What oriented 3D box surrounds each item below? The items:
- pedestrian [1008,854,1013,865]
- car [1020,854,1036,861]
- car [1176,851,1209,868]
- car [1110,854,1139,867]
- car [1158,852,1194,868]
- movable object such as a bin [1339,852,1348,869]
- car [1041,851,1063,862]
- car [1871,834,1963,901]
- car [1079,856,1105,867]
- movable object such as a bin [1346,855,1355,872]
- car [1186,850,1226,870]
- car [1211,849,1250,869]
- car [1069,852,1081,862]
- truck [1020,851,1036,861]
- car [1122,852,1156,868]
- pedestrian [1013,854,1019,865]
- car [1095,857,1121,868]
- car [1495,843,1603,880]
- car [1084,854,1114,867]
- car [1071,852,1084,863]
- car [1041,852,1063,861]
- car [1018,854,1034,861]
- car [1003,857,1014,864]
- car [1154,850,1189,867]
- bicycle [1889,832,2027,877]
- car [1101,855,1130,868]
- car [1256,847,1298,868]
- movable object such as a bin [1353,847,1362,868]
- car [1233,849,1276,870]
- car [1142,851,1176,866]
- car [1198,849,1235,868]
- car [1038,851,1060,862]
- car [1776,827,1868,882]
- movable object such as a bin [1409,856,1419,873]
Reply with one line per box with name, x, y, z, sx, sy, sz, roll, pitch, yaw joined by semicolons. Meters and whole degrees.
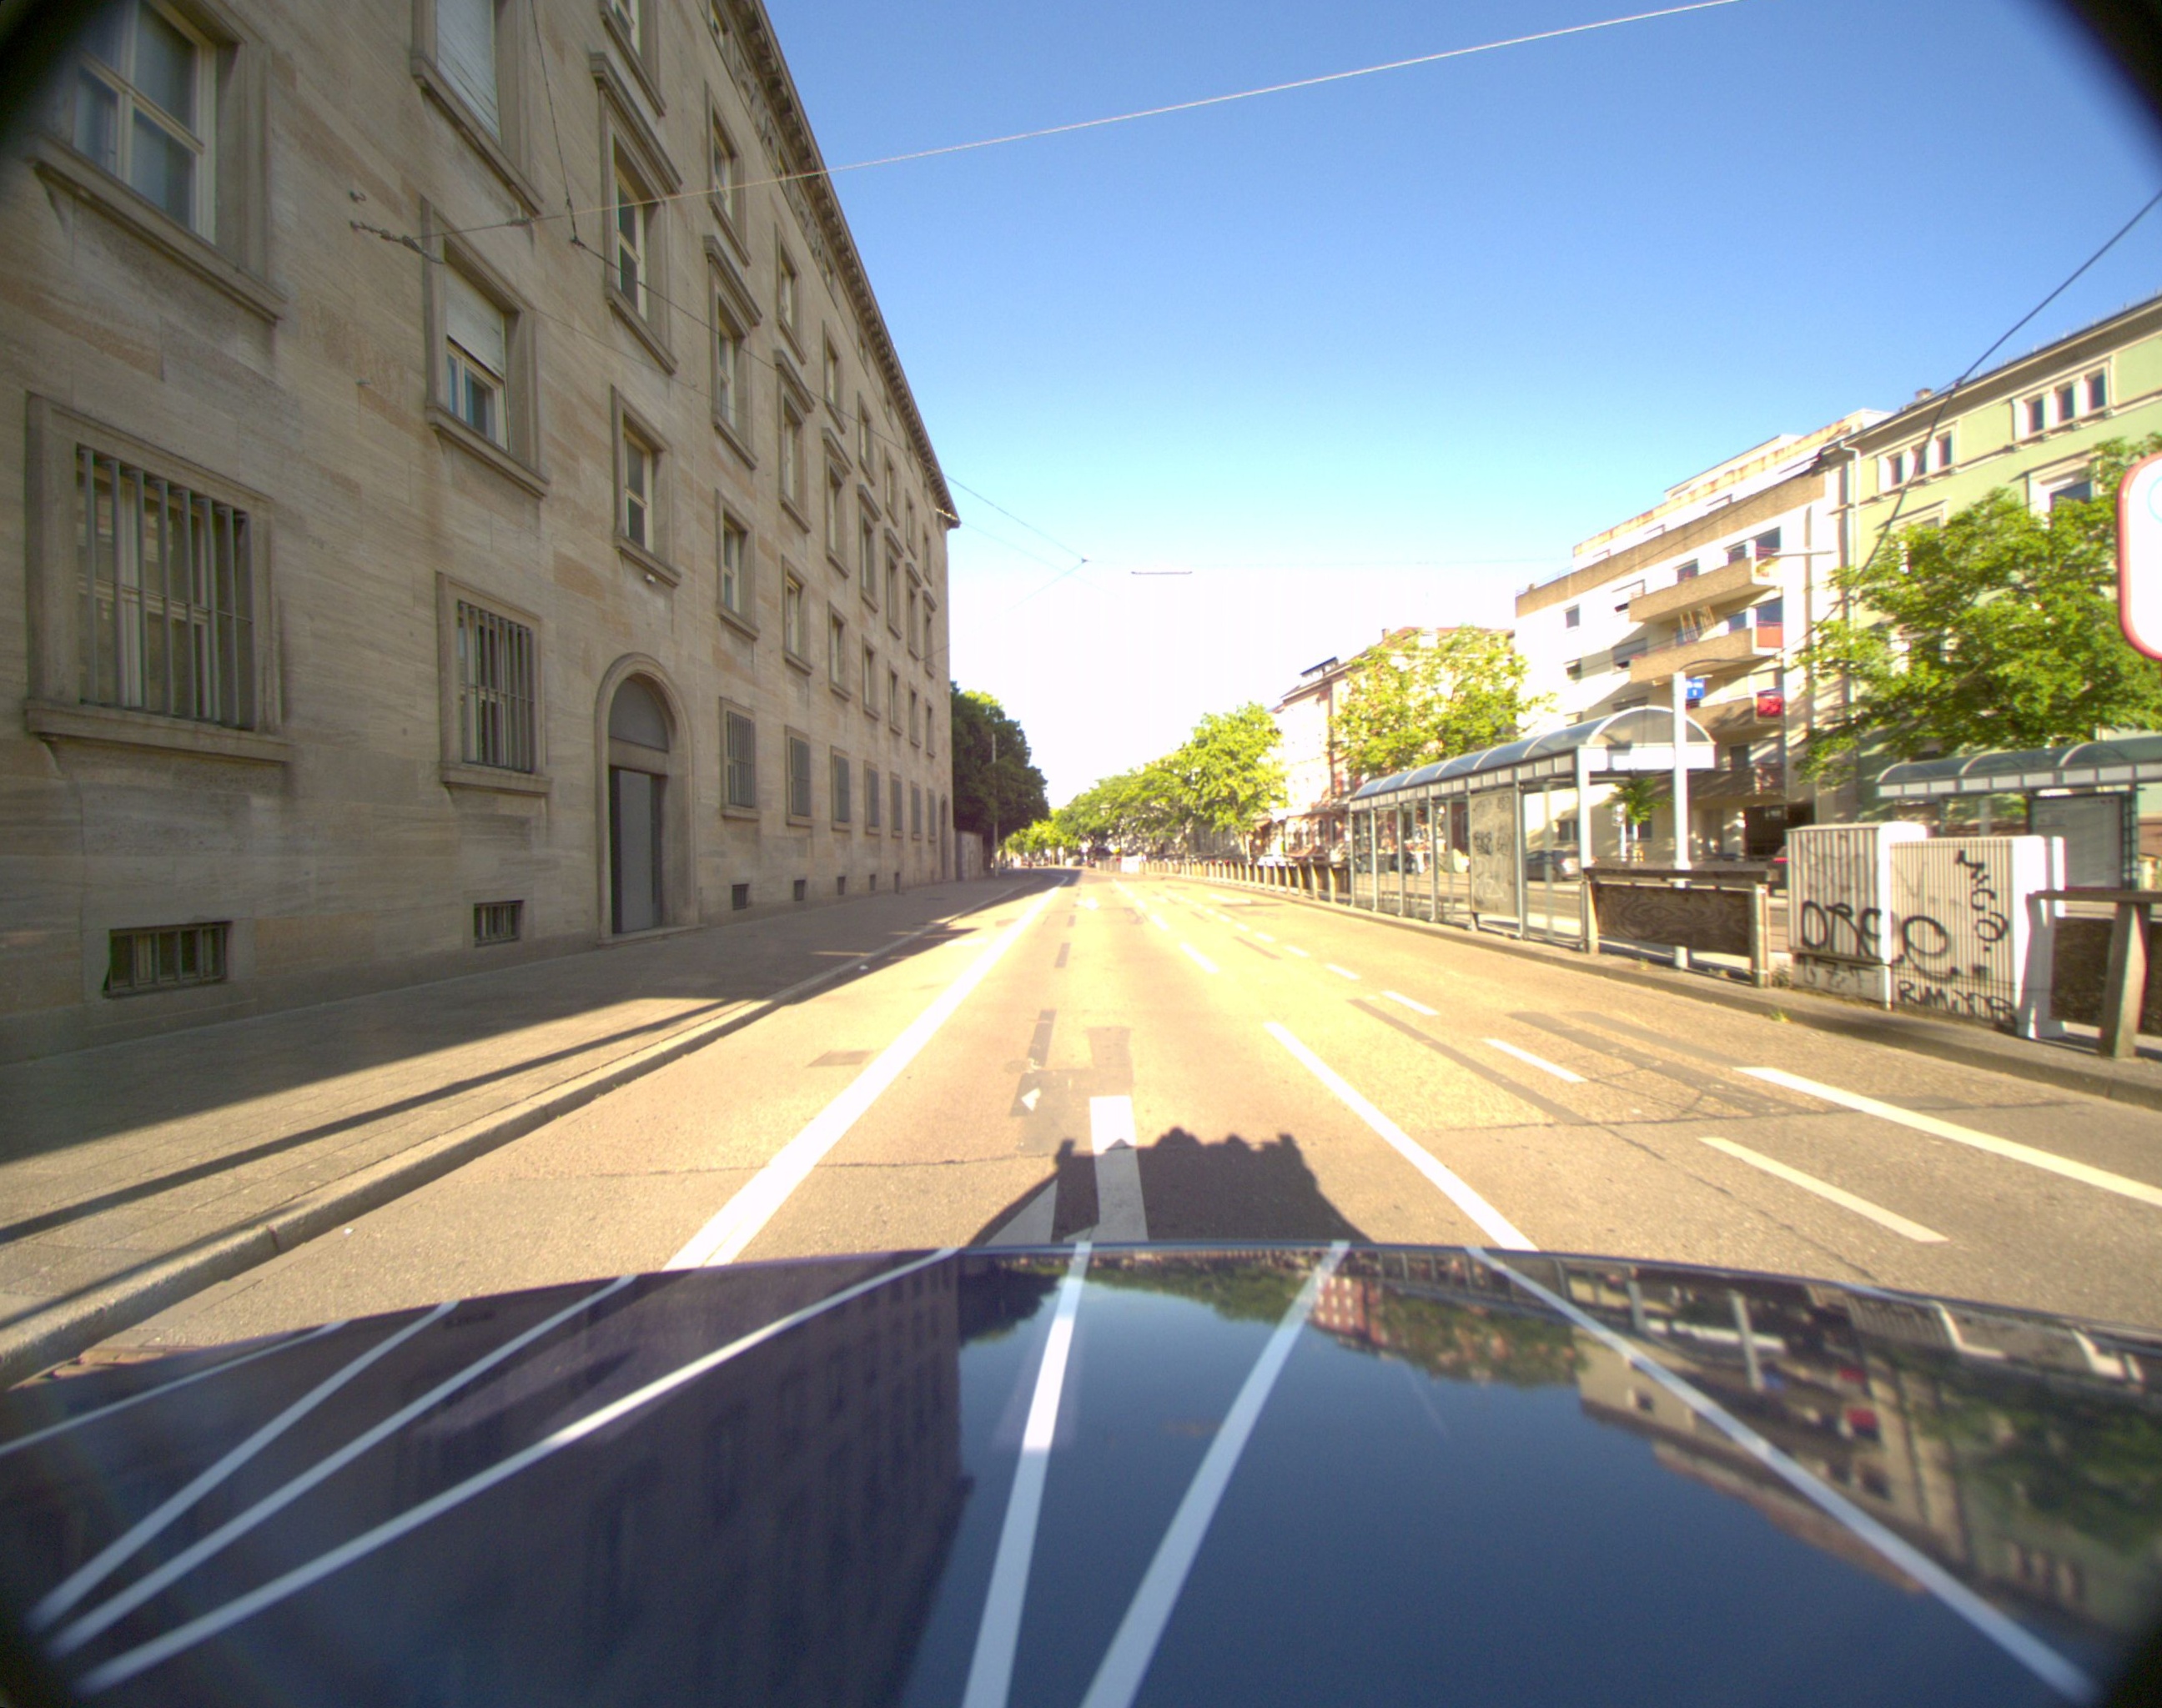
pedestrian;-11.431;0.848;123.244;0.831;1.710;0.804;-1;1;-6
car;-13.484;0.944;193.669;3.775;1.584;1.670;-4;1;-18
car;11.872;0.551;80.637;3.286;1.524;1.703;-6;2;-43
car;6.303;0.904;109.169;4.208;1.549;1.636;-4;1;-41
car;10.513;0.647;83.631;3.829;1.477;1.766;-4;2;-41
movable object such as a bin;18.069;0.437;52.267;0.380;1.196;0.639;-1;1;0
car;-6.110;0.510;161.581;4.311;1.940;1.670;-4;1;-18
car;23.922;0.321;21.866;4.524;1.632;1.585;-3;2;-45
car;1.774;1.168;120.426;4.007;1.477;1.777;-4;2;-44
movable object such as a bin;18.061;0.633;50.986;0.380;1.062;0.639;-1;1;0
car;12.739;0.595;77.268;4.293;1.713;1.703;-5;3;-43
car;14.013;0.438;71.252;1.630;1.607;3.993;-2;1;43
car;-1.183;0.592;146.043;1.673;1.886;3.211;-1;0;-12
truck;-13.321;0.484;190.562;3.774;2.409;1.671;-4;1;-13
car;7.221;0.726;94.631;4.208;1.788;1.781;-4;2;-41
pedestrian;-10.471;0.921;123.064;0.872;1.710;0.804;-1;1;-3
car;4.082;1.287;115.394;1.744;1.511;3.772;-2;2;44
car;20.777;0.309;33.983;1.711;1.402;4.289;-4;1;-8
car;2.787;1.031;117.184;4.366;1.704;1.944;-4;2;-35
car;-0.639;0.654;141.674;1.673;1.886;3.211;-1;0;-12
car;-5.973;0.524;157.368;4.105;1.561;1.670;-4;1;-18
car;-14.249;0.885;197.052;3.775;1.584;1.670;-4;1;-18
car;-17.584;1.596;184.250;1.878;1.591;4.421;-1;0;-16
car;10.339;0.501;86.788;3.877;1.645;1.768;-3;2;-41
bicycle;29.064;0.015;25.280;0.719;1.390;3.007;-1;0;-14
car;5.104;1.076;112.179;4.208;1.714;1.780;-5;2;-44
car;16.395;0.289;63.497;1.731;1.513;3.923;-3;1;41
movable object such as a bin;18.622;0.235;51.174;0.380;1.418;0.386;-1;1;0
car;15.259;0.491;66.719;3.929;1.499;1.685;-5;1;-43
car;9.208;0.544;89.819;3.877;1.645;1.768;-3;2;-41
car;13.178;0.458;73.848;1.630;1.607;3.993;-2;1;43
car;-6.902;0.561;163.855;4.311;1.940;1.670;-4;1;-18
car;22.644;-0.029;23.206;4.524;1.417;1.868;-3;2;-45
movable object such as a bin;21.309;0.667;48.604;0.380;1.090;0.552;-1;2;-6
